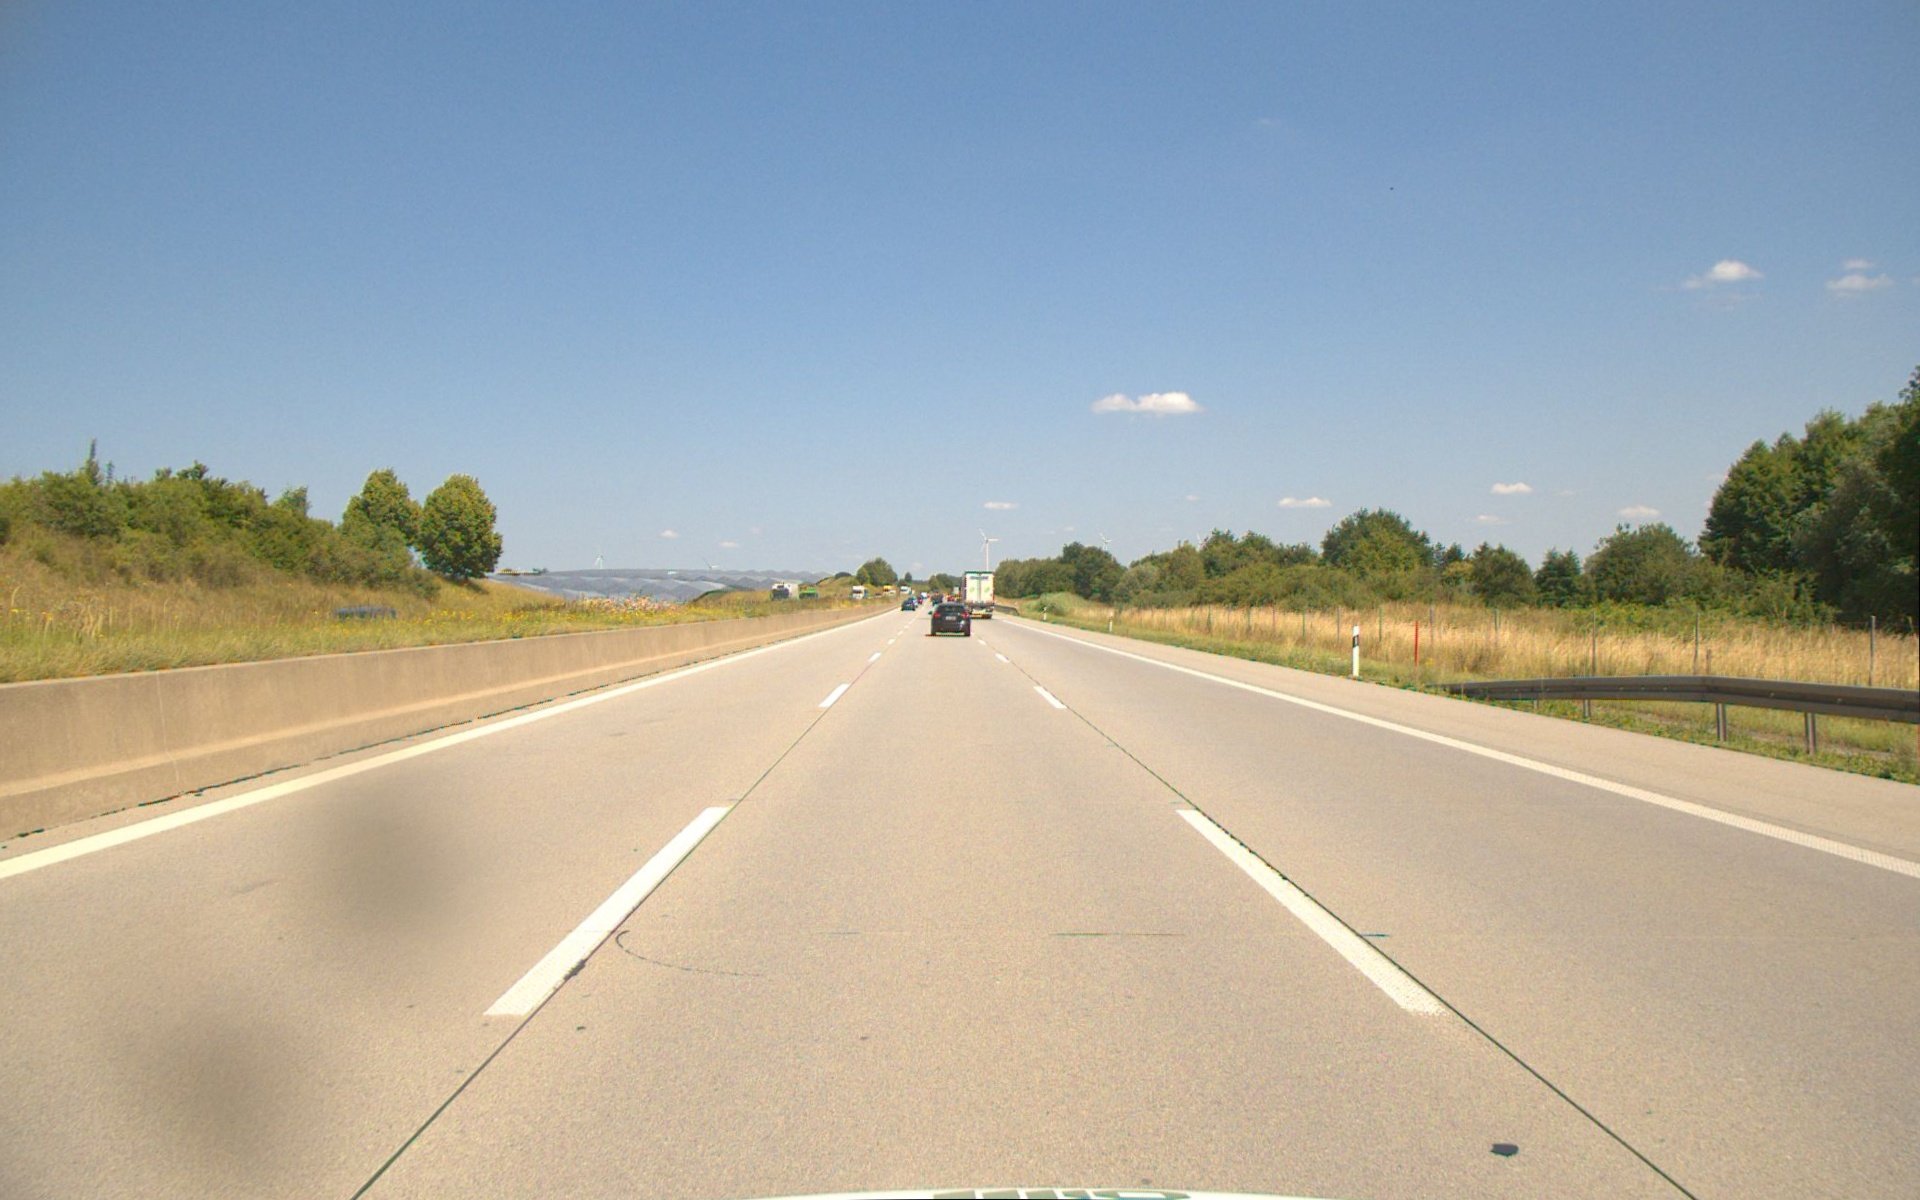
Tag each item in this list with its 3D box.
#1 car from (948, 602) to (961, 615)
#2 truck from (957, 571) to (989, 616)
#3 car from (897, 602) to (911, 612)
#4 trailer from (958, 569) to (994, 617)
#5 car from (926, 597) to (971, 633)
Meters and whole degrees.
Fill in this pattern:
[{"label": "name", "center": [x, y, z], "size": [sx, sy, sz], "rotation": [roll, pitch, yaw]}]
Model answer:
[{"label": "car", "center": [-0.785, 1.282, 251.101], "size": [1.789, 1.940, 4.001], "rotation": [1, 0, 3]}, {"label": "truck", "center": [1.225, -0.601, 156.733], "size": [2.755, 4.159, 5.797], "rotation": [1, 0, -1]}, {"label": "car", "center": [-7.261, 0.935, 215.400], "size": [1.622, 1.217, 3.959], "rotation": [3, 0, -1]}, {"label": "trailer", "center": [1.364, -0.572, 149.180], "size": [2.795, 4.113, 12.710], "rotation": [1, 0, -1]}, {"label": "car", "center": [-0.545, 0.646, 73.753], "size": [1.872, 1.518, 4.190], "rotation": [1, 0, -1]}]
